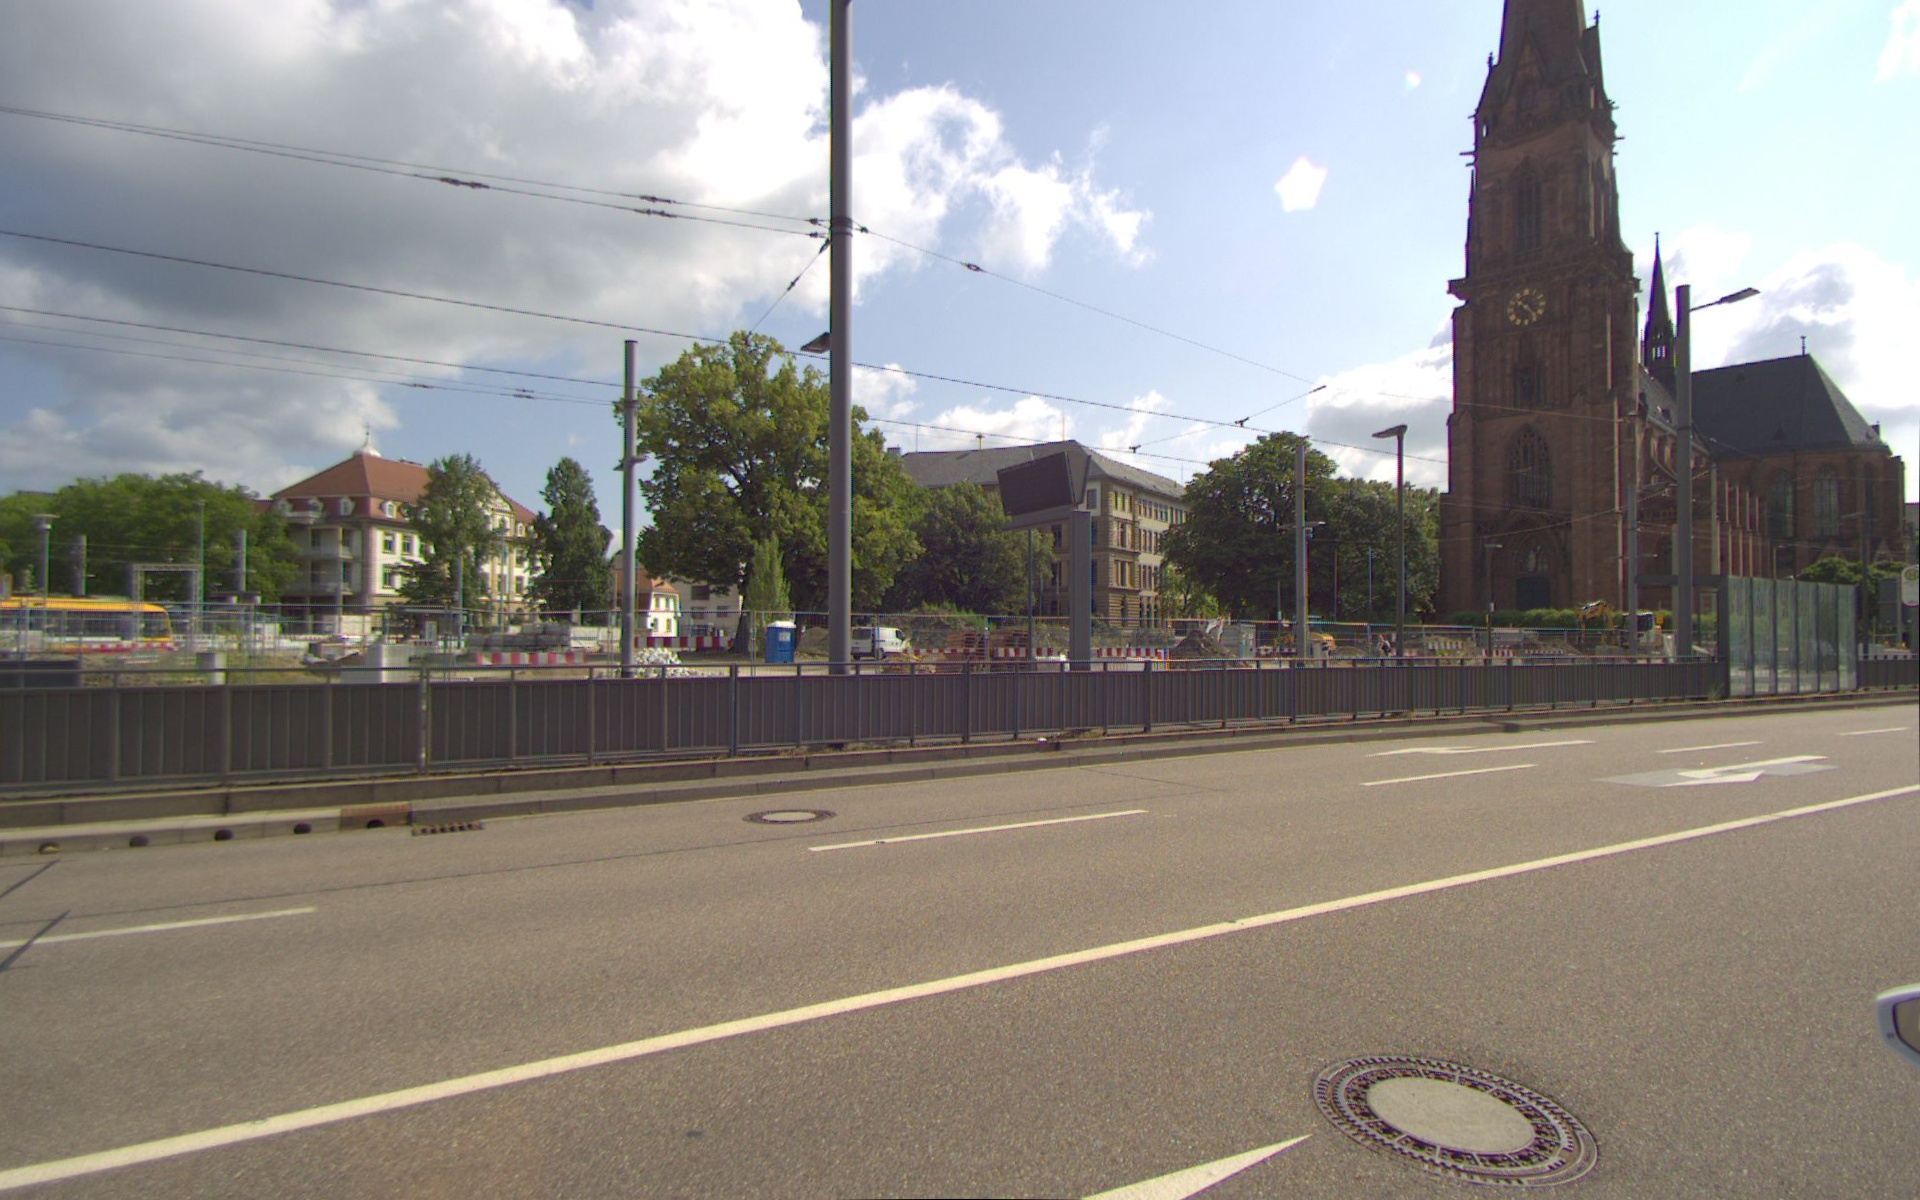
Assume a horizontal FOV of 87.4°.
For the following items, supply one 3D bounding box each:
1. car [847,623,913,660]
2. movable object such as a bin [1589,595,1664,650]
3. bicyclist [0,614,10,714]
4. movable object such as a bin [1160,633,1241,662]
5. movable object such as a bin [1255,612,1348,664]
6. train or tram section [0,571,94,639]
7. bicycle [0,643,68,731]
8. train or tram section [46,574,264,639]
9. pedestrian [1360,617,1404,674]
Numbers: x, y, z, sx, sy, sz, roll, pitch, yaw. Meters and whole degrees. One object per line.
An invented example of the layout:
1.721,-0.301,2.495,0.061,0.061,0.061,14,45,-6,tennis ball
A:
-4.887,2.516,61.974,1.905,2.166,4.639,-1,-1,27,car
39.665,1.319,59.809,3.948,3.147,1.987,-1,0,-27,movable object such as a bin
-17.071,1.080,16.670,1.666,1.706,1.171,1,-2,-33,bicyclist
13.480,2.639,56.025,5.120,1.522,1.974,2,-3,-44,movable object such as a bin
20.513,2.284,60.543,1.982,2.949,5.100,2,-2,-37,movable object such as a bin
-51.137,0.308,51.216,3.257,3.527,10.614,-2,-1,13,train or tram section
-17.242,1.444,16.530,3.654,1.445,1.186,1,-2,-33,bicycle
-48.782,0.398,61.505,3.257,3.527,10.614,-2,-1,13,train or tram section
15.446,1.655,36.785,1.037,2.040,1.062,1,-2,-27,pedestrian
